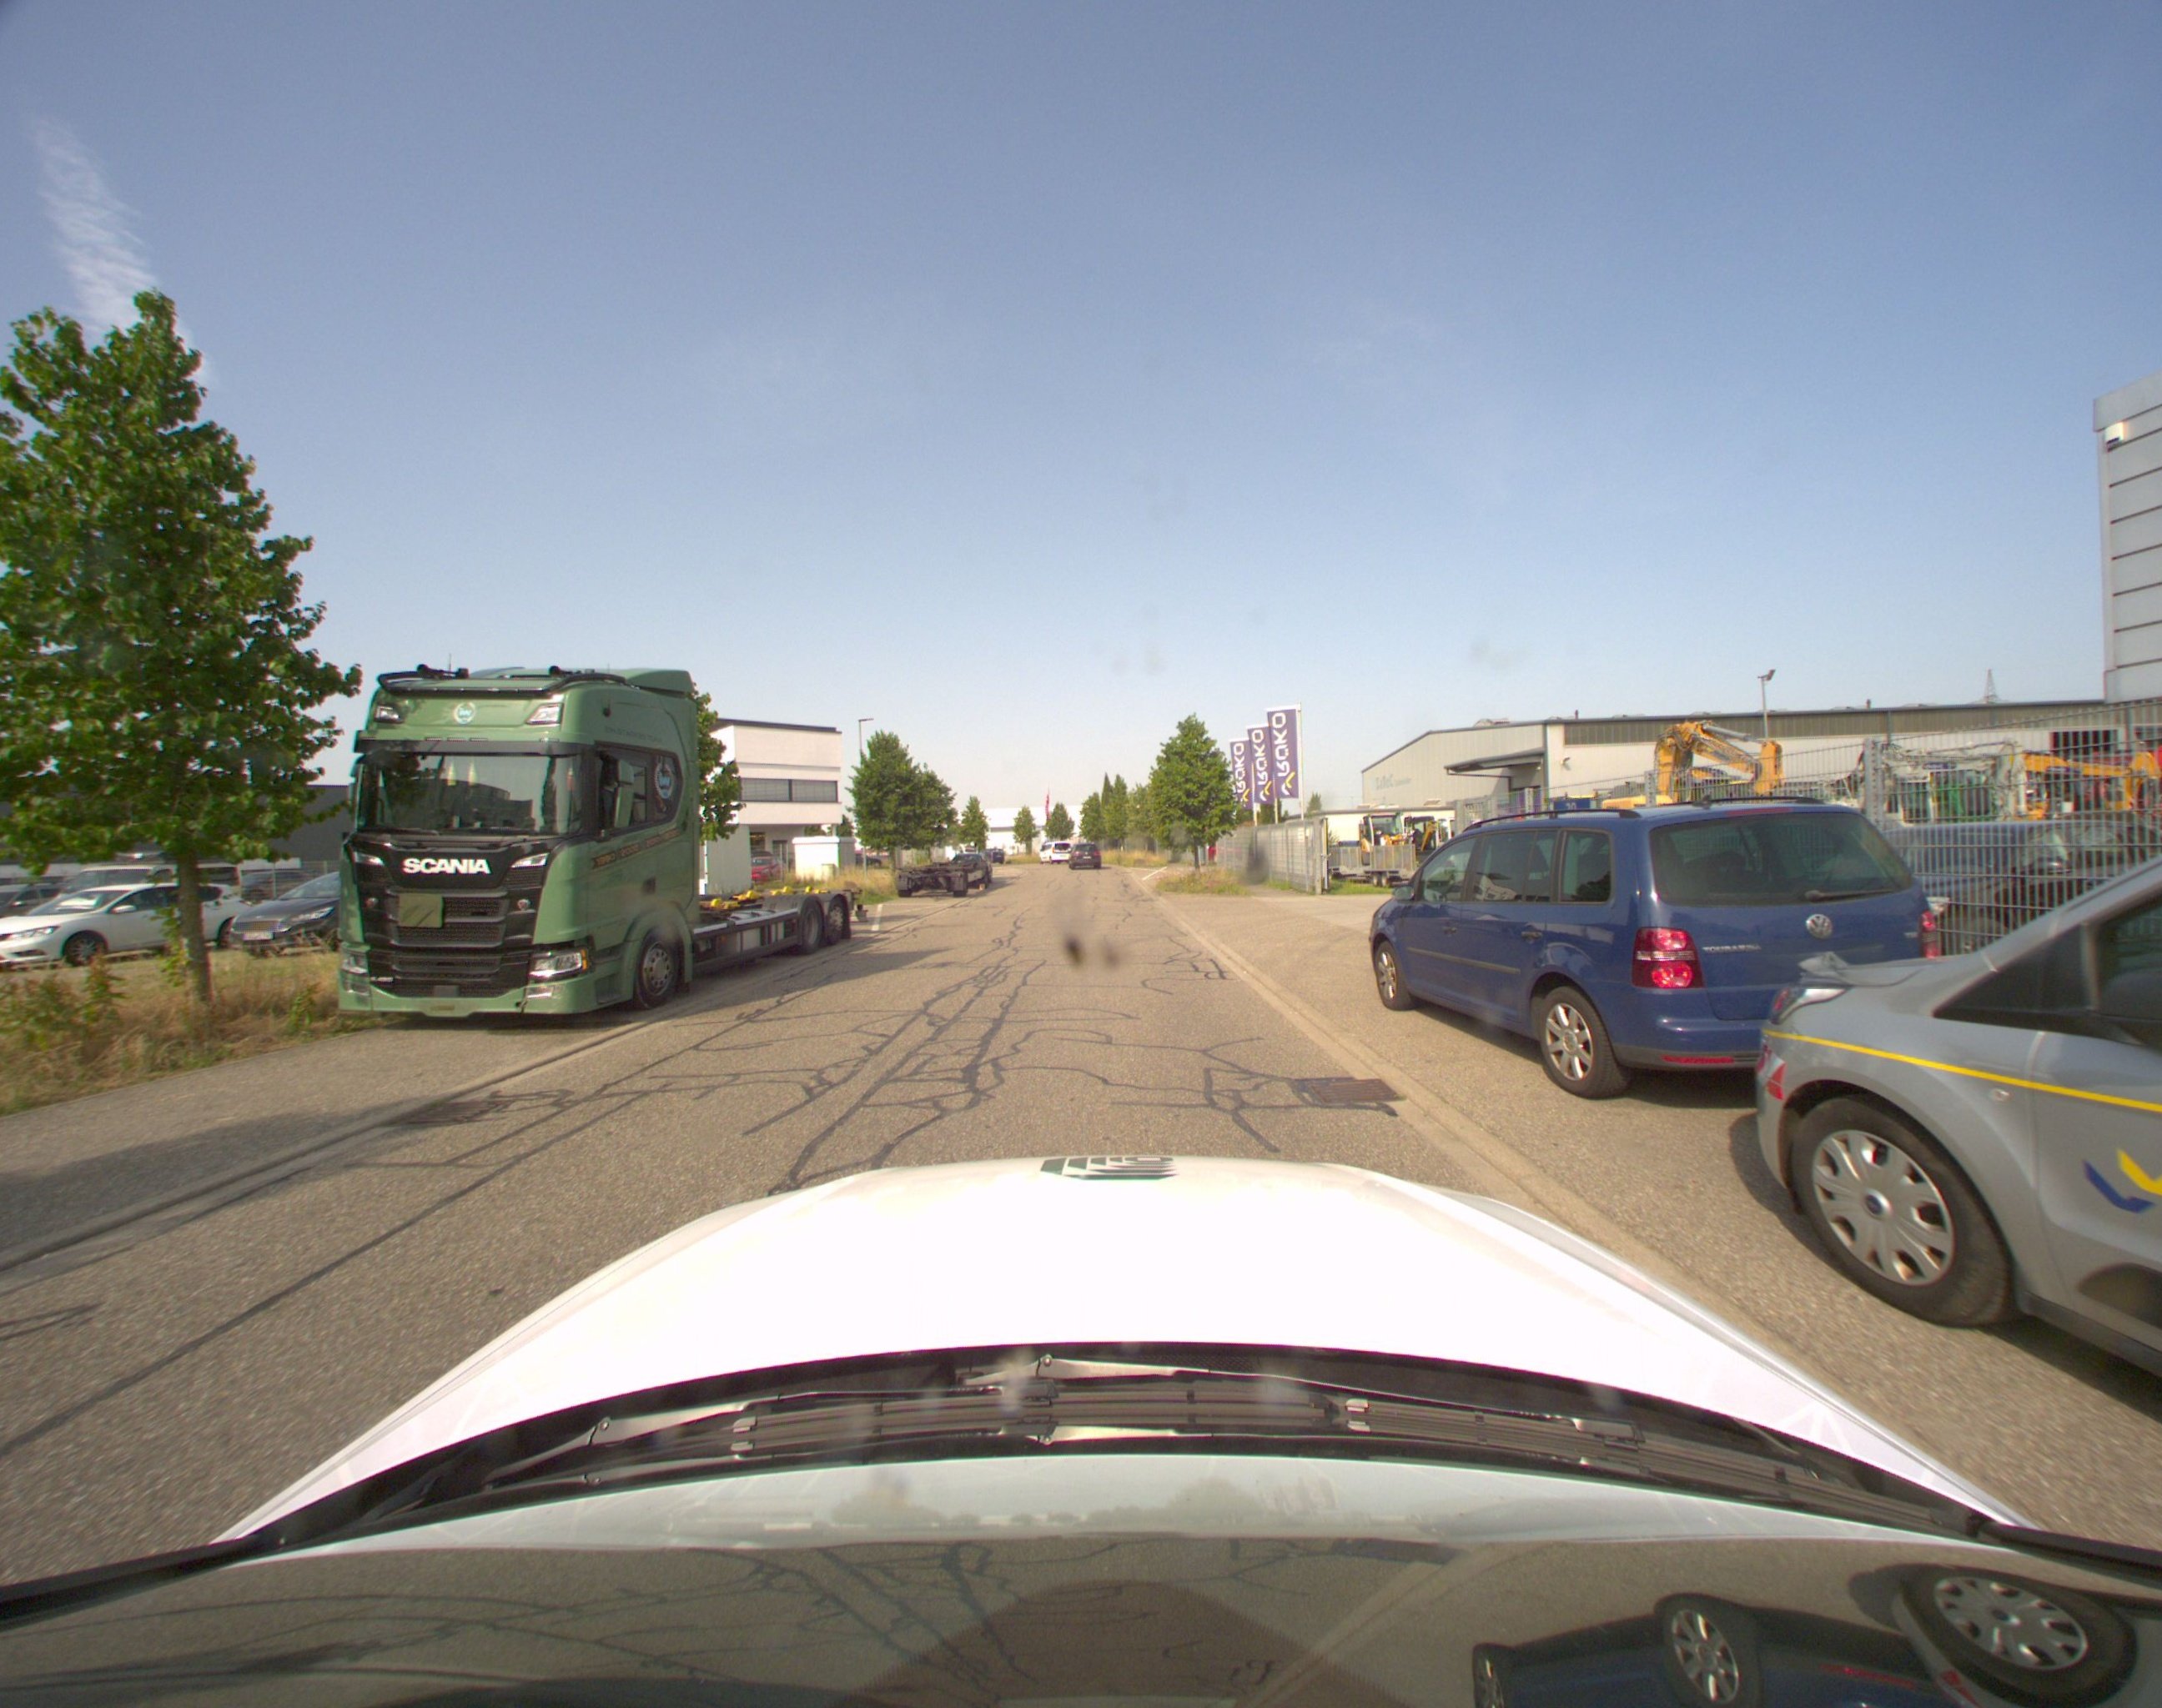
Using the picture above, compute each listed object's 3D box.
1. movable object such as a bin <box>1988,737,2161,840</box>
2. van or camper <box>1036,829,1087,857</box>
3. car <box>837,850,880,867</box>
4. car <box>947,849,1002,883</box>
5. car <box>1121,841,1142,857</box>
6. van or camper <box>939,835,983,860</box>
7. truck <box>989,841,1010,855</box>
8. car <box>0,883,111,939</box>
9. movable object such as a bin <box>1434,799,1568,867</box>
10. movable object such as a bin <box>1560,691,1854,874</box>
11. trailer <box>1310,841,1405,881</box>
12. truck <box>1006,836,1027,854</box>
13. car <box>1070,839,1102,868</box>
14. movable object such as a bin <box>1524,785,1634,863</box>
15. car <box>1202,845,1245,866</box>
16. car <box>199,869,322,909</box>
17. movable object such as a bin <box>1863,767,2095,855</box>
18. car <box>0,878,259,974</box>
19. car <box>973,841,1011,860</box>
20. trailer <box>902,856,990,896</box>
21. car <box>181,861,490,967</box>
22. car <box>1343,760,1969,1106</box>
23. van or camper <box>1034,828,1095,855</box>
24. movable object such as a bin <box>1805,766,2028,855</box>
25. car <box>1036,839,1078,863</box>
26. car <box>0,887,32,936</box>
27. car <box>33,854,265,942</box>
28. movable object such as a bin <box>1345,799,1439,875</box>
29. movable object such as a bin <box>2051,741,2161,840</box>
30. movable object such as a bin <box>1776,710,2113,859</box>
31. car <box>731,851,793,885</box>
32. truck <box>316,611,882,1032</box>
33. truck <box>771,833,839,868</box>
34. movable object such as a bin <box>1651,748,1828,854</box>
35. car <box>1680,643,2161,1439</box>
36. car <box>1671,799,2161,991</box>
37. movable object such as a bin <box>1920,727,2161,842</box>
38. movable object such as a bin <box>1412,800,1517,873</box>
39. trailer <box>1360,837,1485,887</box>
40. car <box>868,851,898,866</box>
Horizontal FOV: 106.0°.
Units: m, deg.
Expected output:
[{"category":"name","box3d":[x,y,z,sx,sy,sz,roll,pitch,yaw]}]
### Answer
[{"category":"movable object such as a bin","box3d":[41.625,-2.552,33.093,2.445,3.780,6.137,-3,0,-2]},{"category":"van or camper","box3d":[-2.208,-1.187,88.764,2.364,2.847,7.271,-2,0,-30]},{"category":"car","box3d":[-20.847,0.397,76.304,1.576,1.454,3.525,-1,0,43]},{"category":"car","box3d":[-5.175,0.538,40.104,1.986,1.466,4.434,0,1,2]},{"category":"car","box3d":[5.433,-0.524,87.393,1.719,1.643,3.994,-1,1,-4]},{"category":"van or camper","box3d":[-14.992,-0.803,101.151,2.349,2.943,6.893,-2,1,-37]},{"category":"truck","box3d":[-13.897,-1.124,138.750,2.441,2.265,8.006,-2,1,2]},{"category":"car","box3d":[-33.931,1.818,25.774,1.841,1.613,4.137,-2,0,-10]},{"category":"movable object such as a bin","box3d":[17.261,-0.840,33.899,2.911,2.491,5.341,-2,1,2]},{"category":"movable object such as a bin","box3d":[19.184,-2.017,25.821,3.306,4.806,7.672,-2,1,0]},{"category":"trailer","box3d":[9.835,0.209,29.326,1.938,1.243,4.293,-2,1,0]},{"category":"truck","box3d":[-10.935,-1.569,138.674,2.441,2.826,8.006,-2,1,2]},{"category":"car","box3d":[0.342,-0.061,52.438,1.986,1.804,4.001,0,1,1]},{"category":"movable object such as a bin","box3d":[21.205,-1.244,34.931,1.985,3.031,4.494,-2,1,2]},{"category":"car","box3d":[9.822,0.067,56.491,1.876,1.357,4.769,-2,1,-2]},{"category":"car","box3d":[-42.721,1.768,42.567,1.979,1.727,4.451,-2,1,-3]},{"category":"movable object such as a bin","box3d":[32.020,-1.475,29.393,2.048,2.768,5.689,-3,1,0]},{"category":"car","box3d":[-19.802,1.380,16.611,1.700,1.516,4.213,-3,1,0]},{"category":"car","box3d":[-8.976,-0.360,82.072,2.010,1.804,3.954,-1,1,-38]},{"category":"trailer","box3d":[-5.158,0.784,32.236,2.122,1.232,7.159,-1,1,1]},{"category":"car","box3d":[-14.951,1.081,16.830,1.987,1.686,4.698,-3,1,0]},{"category":"car","box3d":[3.642,0.405,6.309,1.820,1.720,4.248,-2,0,0]},{"category":"van or camper","box3d":[-2.068,-1.545,100.237,7.248,3.031,2.580,-2,0,-6]},{"category":"movable object such as a bin","box3d":[29.435,-1.458,29.067,2.048,2.768,5.689,-3,1,0]},{"category":"car","box3d":[-2.029,-0.248,67.495,2.001,1.899,4.436,-2,1,-21]},{"category":"car","box3d":[-36.691,1.965,25.814,1.841,1.613,4.137,-2,0,-10]},{"category":"car","box3d":[-30.827,1.337,27.283,2.051,2.547,5.441,-2,0,-10]},{"category":"movable object such as a bin","box3d":[12.439,-0.657,32.961,1.880,2.752,5.162,-2,1,2]},{"category":"movable object such as a bin","box3d":[44.952,-2.651,33.546,2.445,3.929,6.137,-3,0,-2]},{"category":"movable object such as a bin","box3d":[26.537,-1.962,25.707,2.909,3.928,7.206,-3,1,0]},{"category":"car","box3d":[-16.480,0.684,42.288,1.767,1.525,4.298,-2,2,-4]},{"category":"truck","box3d":[-5.683,-0.308,12.449,2.445,3.881,9.809,0,0,2]},{"category":"truck","box3d":[-33.509,-0.306,98.464,2.650,3.929,12.760,-2,0,-43]},{"category":"movable object such as a bin","box3d":[26.687,-2.014,33.384,2.674,3.873,5.721,-2,1,2]},{"category":"car","box3d":[3.372,0.397,1.003,1.986,1.789,4.602,-2,0,2]},{"category":"car","box3d":[8.438,0.291,7.853,4.215,1.495,1.898,-2,1,-3]},{"category":"movable object such as a bin","box3d":[38.355,-2.548,32.296,2.460,3.929,7.196,-3,0,-2]},{"category":"movable object such as a bin","box3d":[14.277,-0.653,30.661,1.983,2.458,4.771,-2,1,5]},{"category":"trailer","box3d":[10.108,0.223,24.519,1.986,1.310,4.566,-2,0,2]},{"category":"car","box3d":[-23.442,0.538,96.448,2.009,1.771,3.955,-2,1,-37]}]
